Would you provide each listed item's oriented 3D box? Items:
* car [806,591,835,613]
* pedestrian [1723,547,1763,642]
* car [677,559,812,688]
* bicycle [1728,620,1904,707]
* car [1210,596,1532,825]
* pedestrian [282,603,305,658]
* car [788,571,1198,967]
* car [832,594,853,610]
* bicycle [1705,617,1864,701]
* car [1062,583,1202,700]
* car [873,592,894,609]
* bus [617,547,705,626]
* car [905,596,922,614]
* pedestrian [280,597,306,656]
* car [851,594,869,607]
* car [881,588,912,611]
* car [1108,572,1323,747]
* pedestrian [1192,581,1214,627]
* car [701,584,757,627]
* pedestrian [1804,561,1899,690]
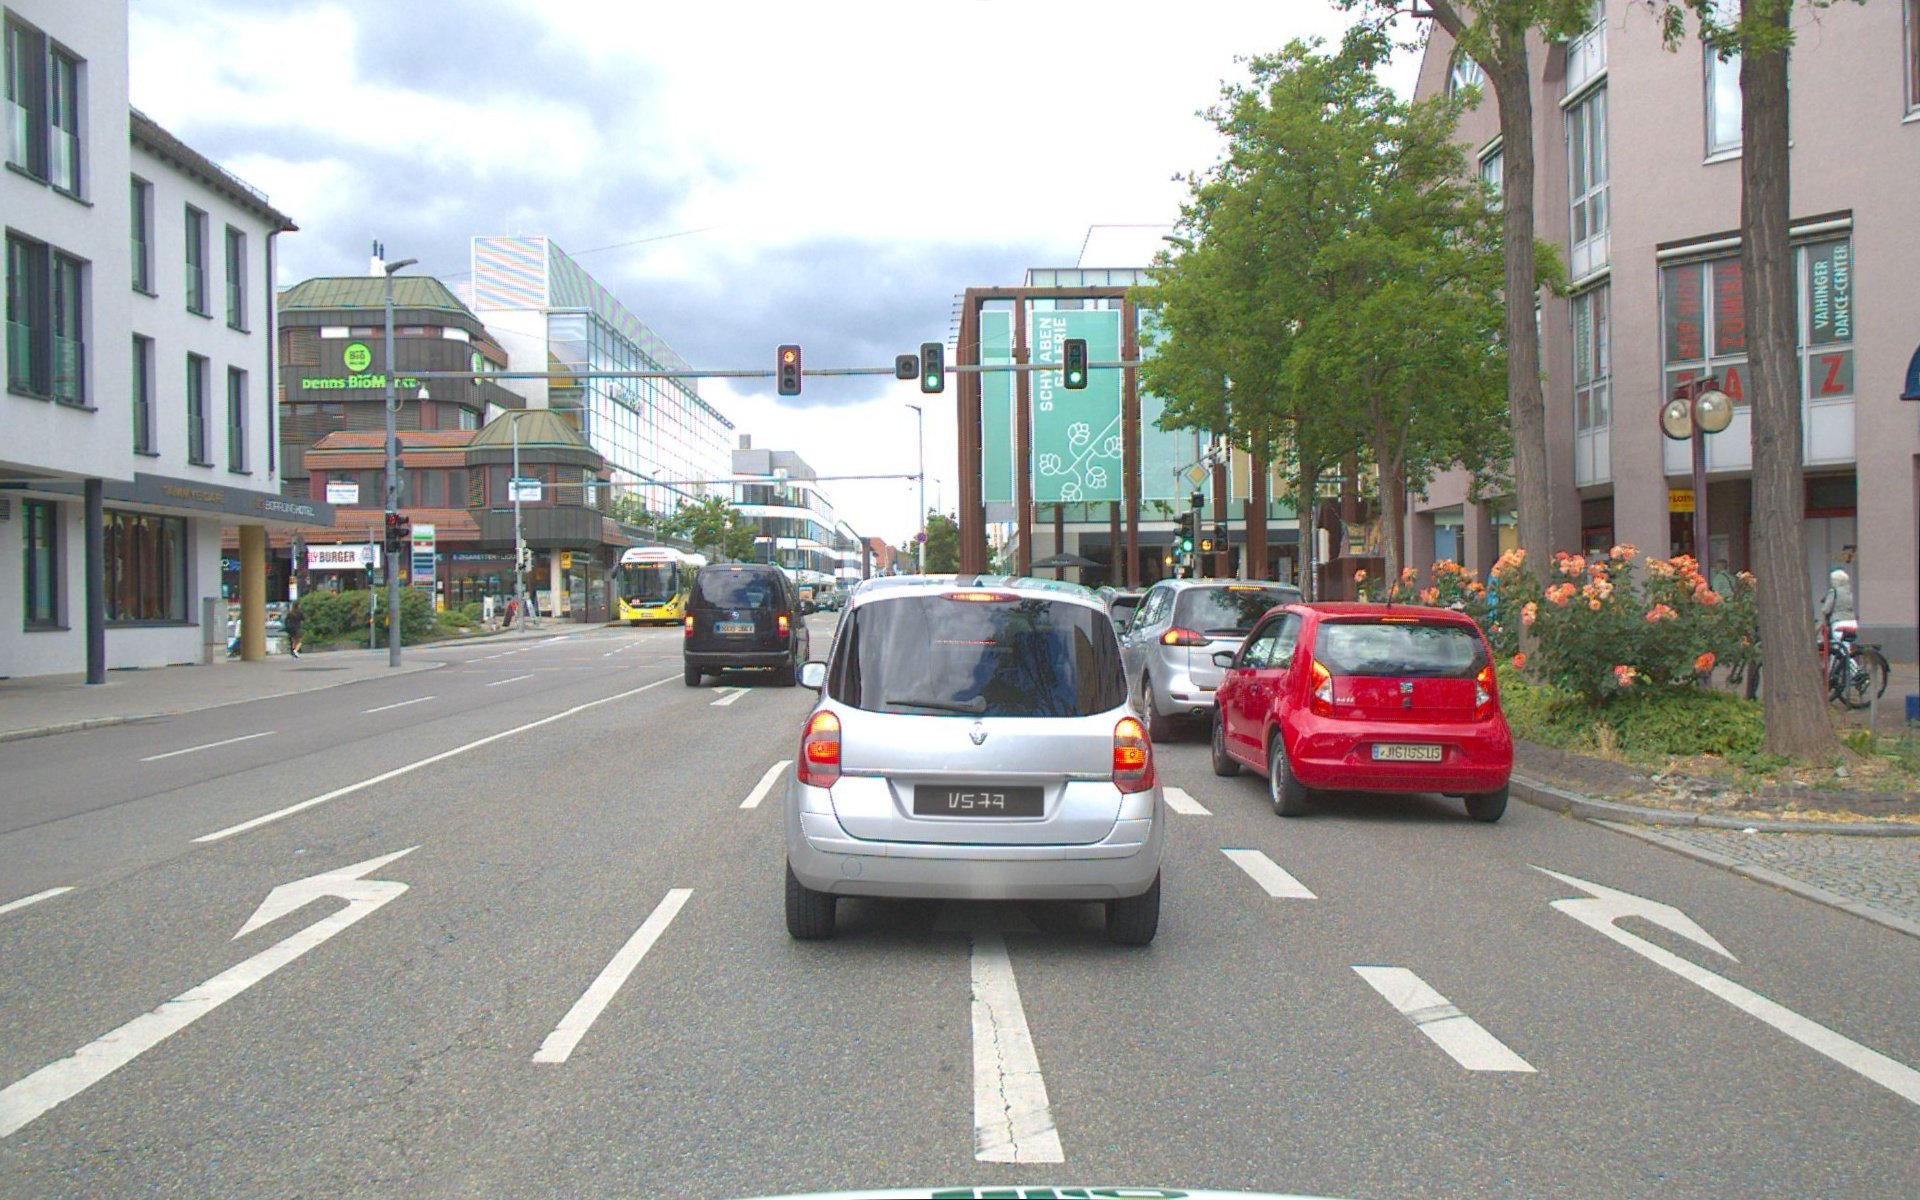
[{"bbox_3d":[-10.352,0.123,123.307,1.764,1.567,4.065,0,0,0],"label":"car"},{"bbox_3d":[14.351,-0.098,30.307,0.624,1.706,0.588,0,0,28],"label":"pedestrian"},{"bbox_3d":[-3.411,0.335,26.893,1.709,1.887,4.632,1,0,-2],"label":"car"},{"bbox_3d":[10.346,0.765,20.014,1.861,1.014,0.468,-1,0,3],"label":"bicycle"},{"bbox_3d":[2.967,0.727,12.601,1.554,1.468,3.348,1,0,-1],"label":"car"},{"bbox_3d":[-20.442,0.921,50.733,0.653,1.678,0.788,-1,0,-22],"label":"pedestrian"},{"bbox_3d":[0.100,0.659,8.225,1.606,1.554,3.393,1,0,-1],"label":"car"},{"bbox_3d":[-11.915,0.202,167.632,1.764,1.567,4.065,0,0,0],"label":"car"},{"bbox_3d":[10.239,0.727,20.567,1.731,1.014,0.447,-1,0,3],"label":"bicycle"},{"bbox_3d":[2.550,0.575,25.267,1.555,1.623,3.866,1,0,-3],"label":"car"},{"bbox_3d":[-7.245,0.072,157.357,1.764,1.567,4.065,0,0,0],"label":"car"},{"bbox_3d":[-13.282,-0.617,74.173,2.633,3.318,8.650,0,0,-2],"label":"bus"},{"bbox_3d":[-5.351,0.582,189.816,1.953,1.983,4.949,0,0,-2],"label":"car"},{"bbox_3d":[-19.613,0.773,48.656,0.693,1.687,0.934,-1,0,-22],"label":"pedestrian"},{"bbox_3d":[-11.921,0.074,197.521,1.764,1.567,4.065,0,0,0],"label":"car"},{"bbox_3d":[-4.764,-0.054,124.010,1.877,1.706,4.244,0,0,4],"label":"car"},{"bbox_3d":[2.654,0.570,18.013,1.555,1.662,3.914,1,0,-3],"label":"car"},{"bbox_3d":[8.894,0.133,60.527,0.641,1.679,0.557,-1,0,-16],"label":"pedestrian"},{"bbox_3d":[-9.790,0.215,70.276,1.953,1.735,4.063,0,0,-2],"label":"car"},{"bbox_3d":[12.118,0.341,22.504,0.773,1.688,0.819,-3,0,-1],"label":"pedestrian"}]
